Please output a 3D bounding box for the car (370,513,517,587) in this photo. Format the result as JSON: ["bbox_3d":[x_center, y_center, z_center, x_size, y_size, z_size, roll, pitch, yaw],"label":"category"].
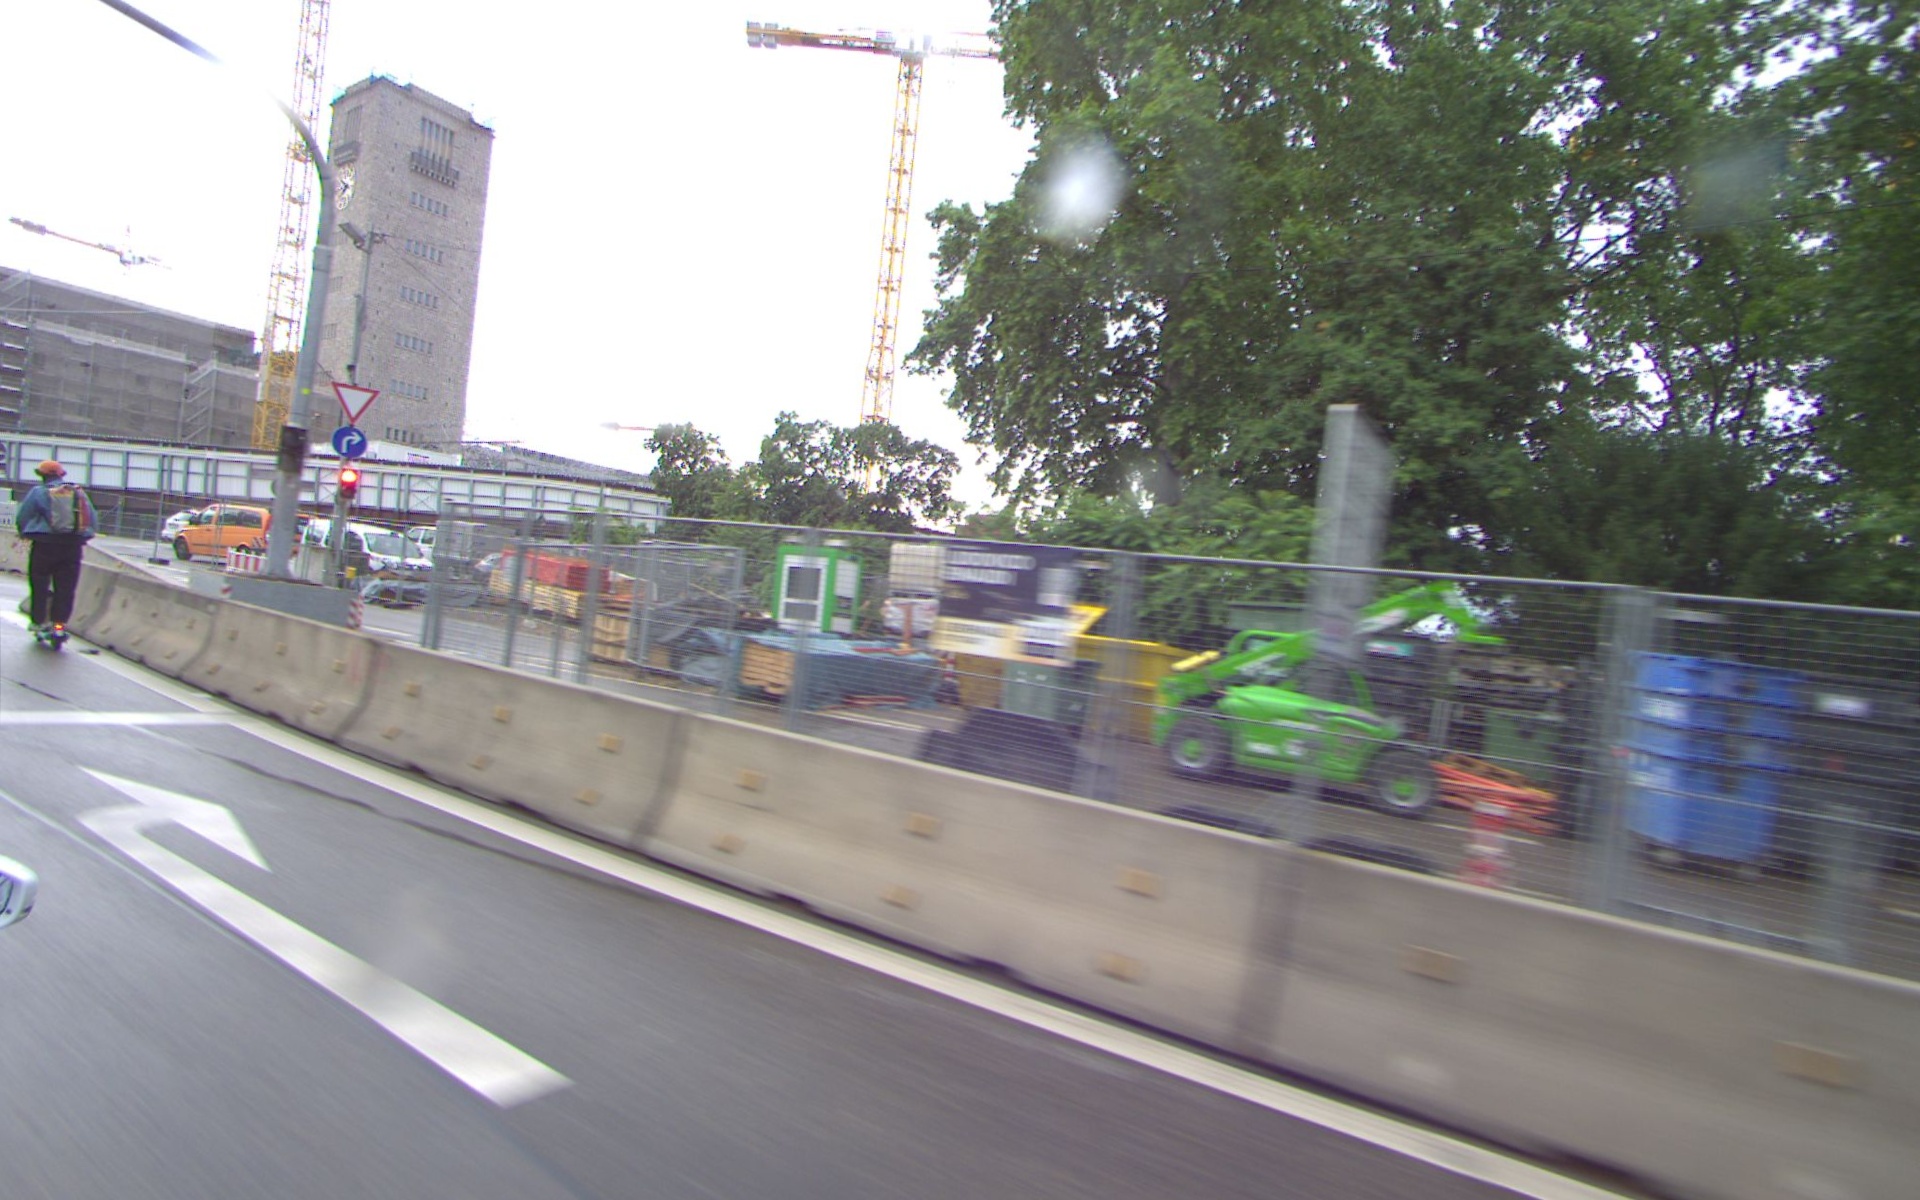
[{"bbox_3d":[-20.734,-2.013,40.338,5.503,2.343,2.049,6,1,23],"label":"car"}]

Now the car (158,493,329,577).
[{"bbox_3d":[-22.393,-2.045,31.424,5.070,1.999,1.917,7,0,25],"label":"car"}]

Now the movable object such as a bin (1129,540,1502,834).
[{"bbox_3d":[4.386,0.974,12.623,3.796,2.844,1.812,8,0,24],"label":"movable object such as a bin"}]

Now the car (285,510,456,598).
[{"bbox_3d":[-17.059,-1.346,29.049,4.999,1.828,1.850,8,0,29],"label":"car"}]

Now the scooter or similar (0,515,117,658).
[{"bbox_3d":[-9.645,-0.161,10.693,1.642,1.335,0.597,6,0,37],"label":"scooter or similar"}]

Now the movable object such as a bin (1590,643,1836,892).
[{"bbox_3d":[7.794,1.663,10.542,1.241,2.230,1.461,8,0,6],"label":"movable object such as a bin"}]

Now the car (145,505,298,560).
[{"bbox_3d":[-27.523,-2.480,37.643,1.782,1.471,4.211,7,1,25],"label":"car"}]

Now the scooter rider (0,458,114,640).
[{"bbox_3d":[-9.589,-0.545,10.676,0.982,1.807,0.597,7,0,37],"label":"scooter rider"}]

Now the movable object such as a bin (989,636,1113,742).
[{"bbox_3d":[1.368,1.342,15.199,1.172,1.361,1.250,8,0,-41],"label":"movable object such as a bin"}]
